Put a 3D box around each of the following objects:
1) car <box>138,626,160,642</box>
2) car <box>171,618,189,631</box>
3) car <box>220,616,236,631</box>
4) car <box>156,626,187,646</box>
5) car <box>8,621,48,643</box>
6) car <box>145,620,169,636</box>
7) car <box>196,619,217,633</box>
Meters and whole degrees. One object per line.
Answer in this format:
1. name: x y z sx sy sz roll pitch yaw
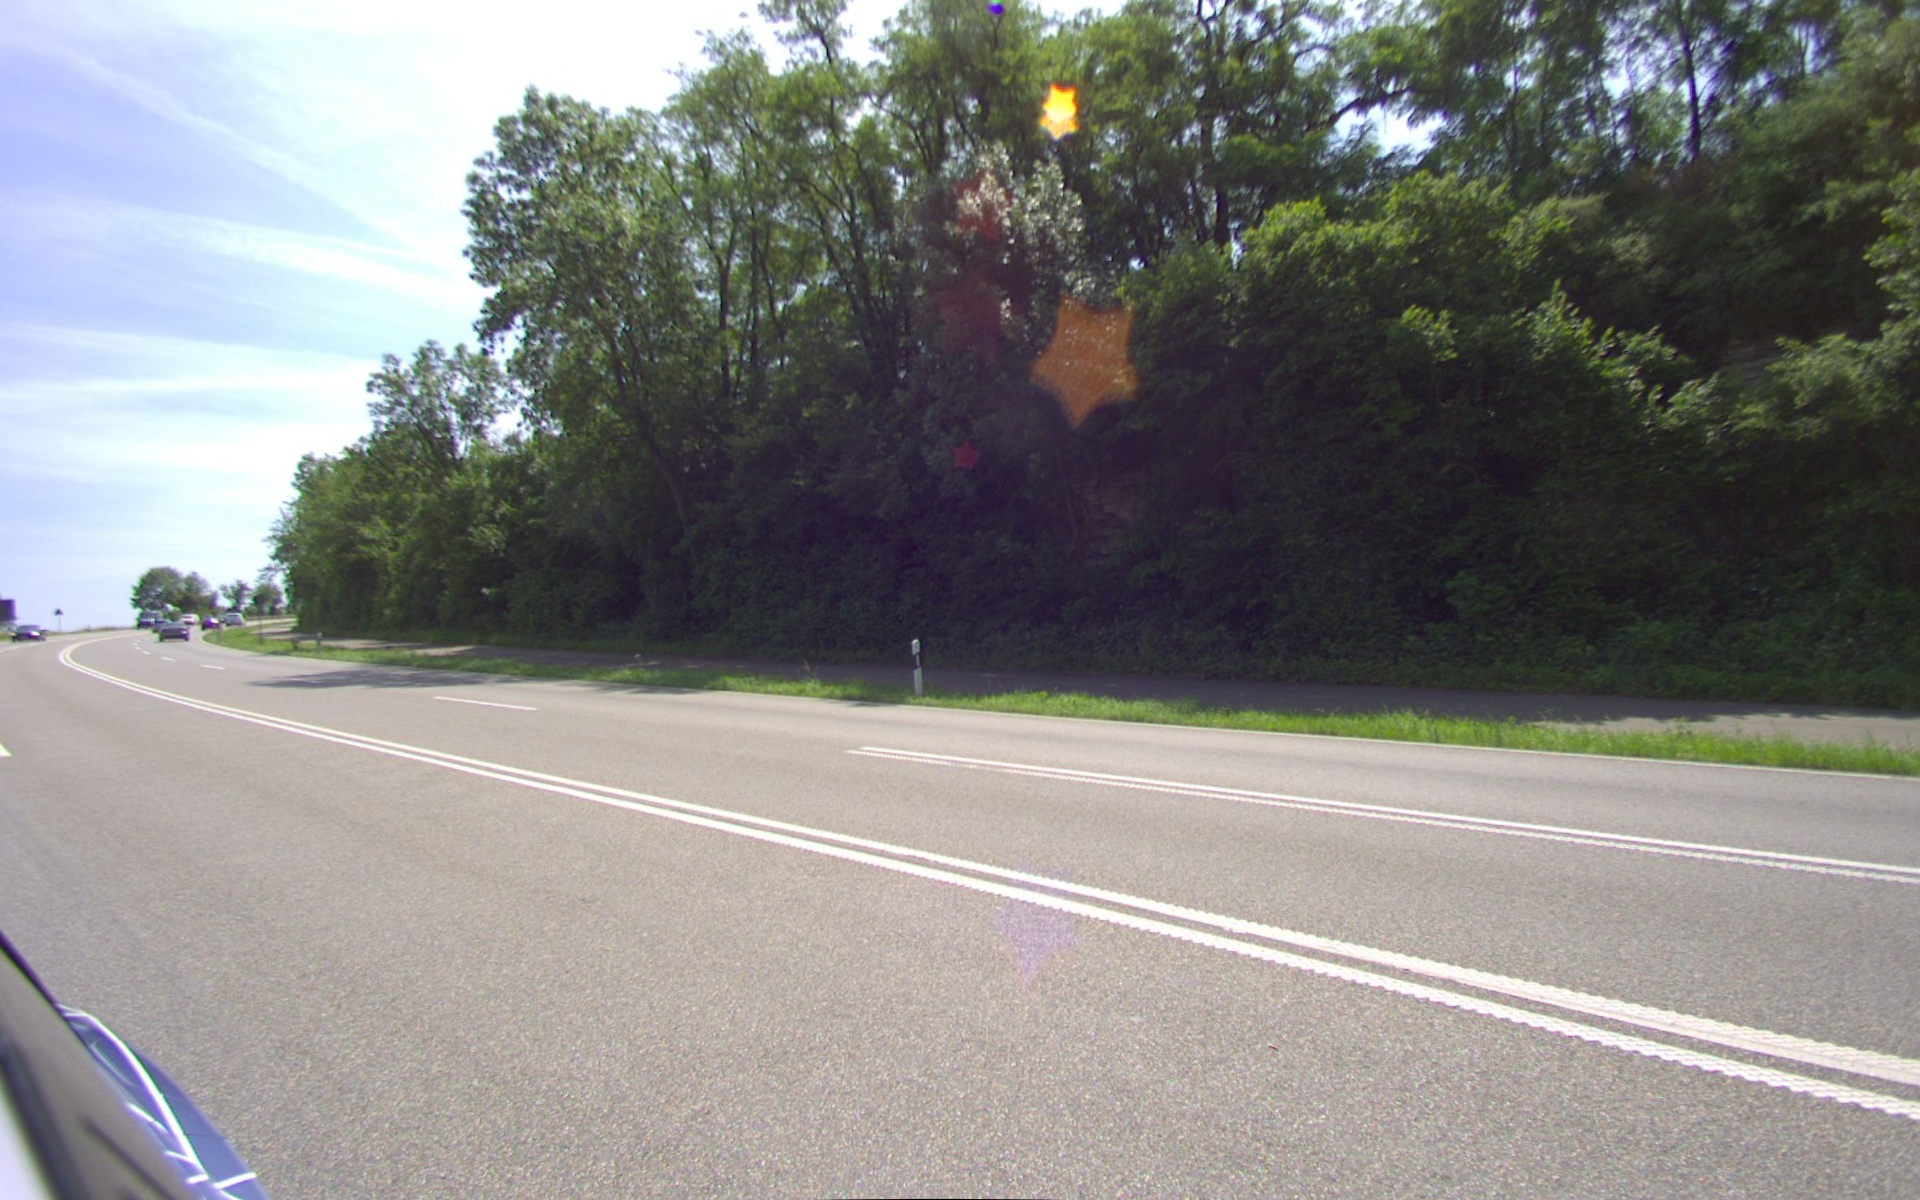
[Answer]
1. car: -111.152 4.641 138.683 1.966 2.029 4.011 -1 -1 -33
2. car: -123.617 3.872 160.369 1.822 2.029 3.883 0 0 -32
3. car: -106.426 3.371 147.123 1.788 2.029 3.880 0 0 -36
4. car: -58.431 2.635 75.016 1.779 1.398 3.878 -1 -1 -38
5. car: -77.369 2.649 84.026 1.967 1.741 4.009 0 0 -36
6. car: -90.767 3.154 114.437 1.929 1.741 3.920 -1 -1 -36
7. car: -92.079 3.157 123.680 1.967 1.687 4.009 0 0 -36
